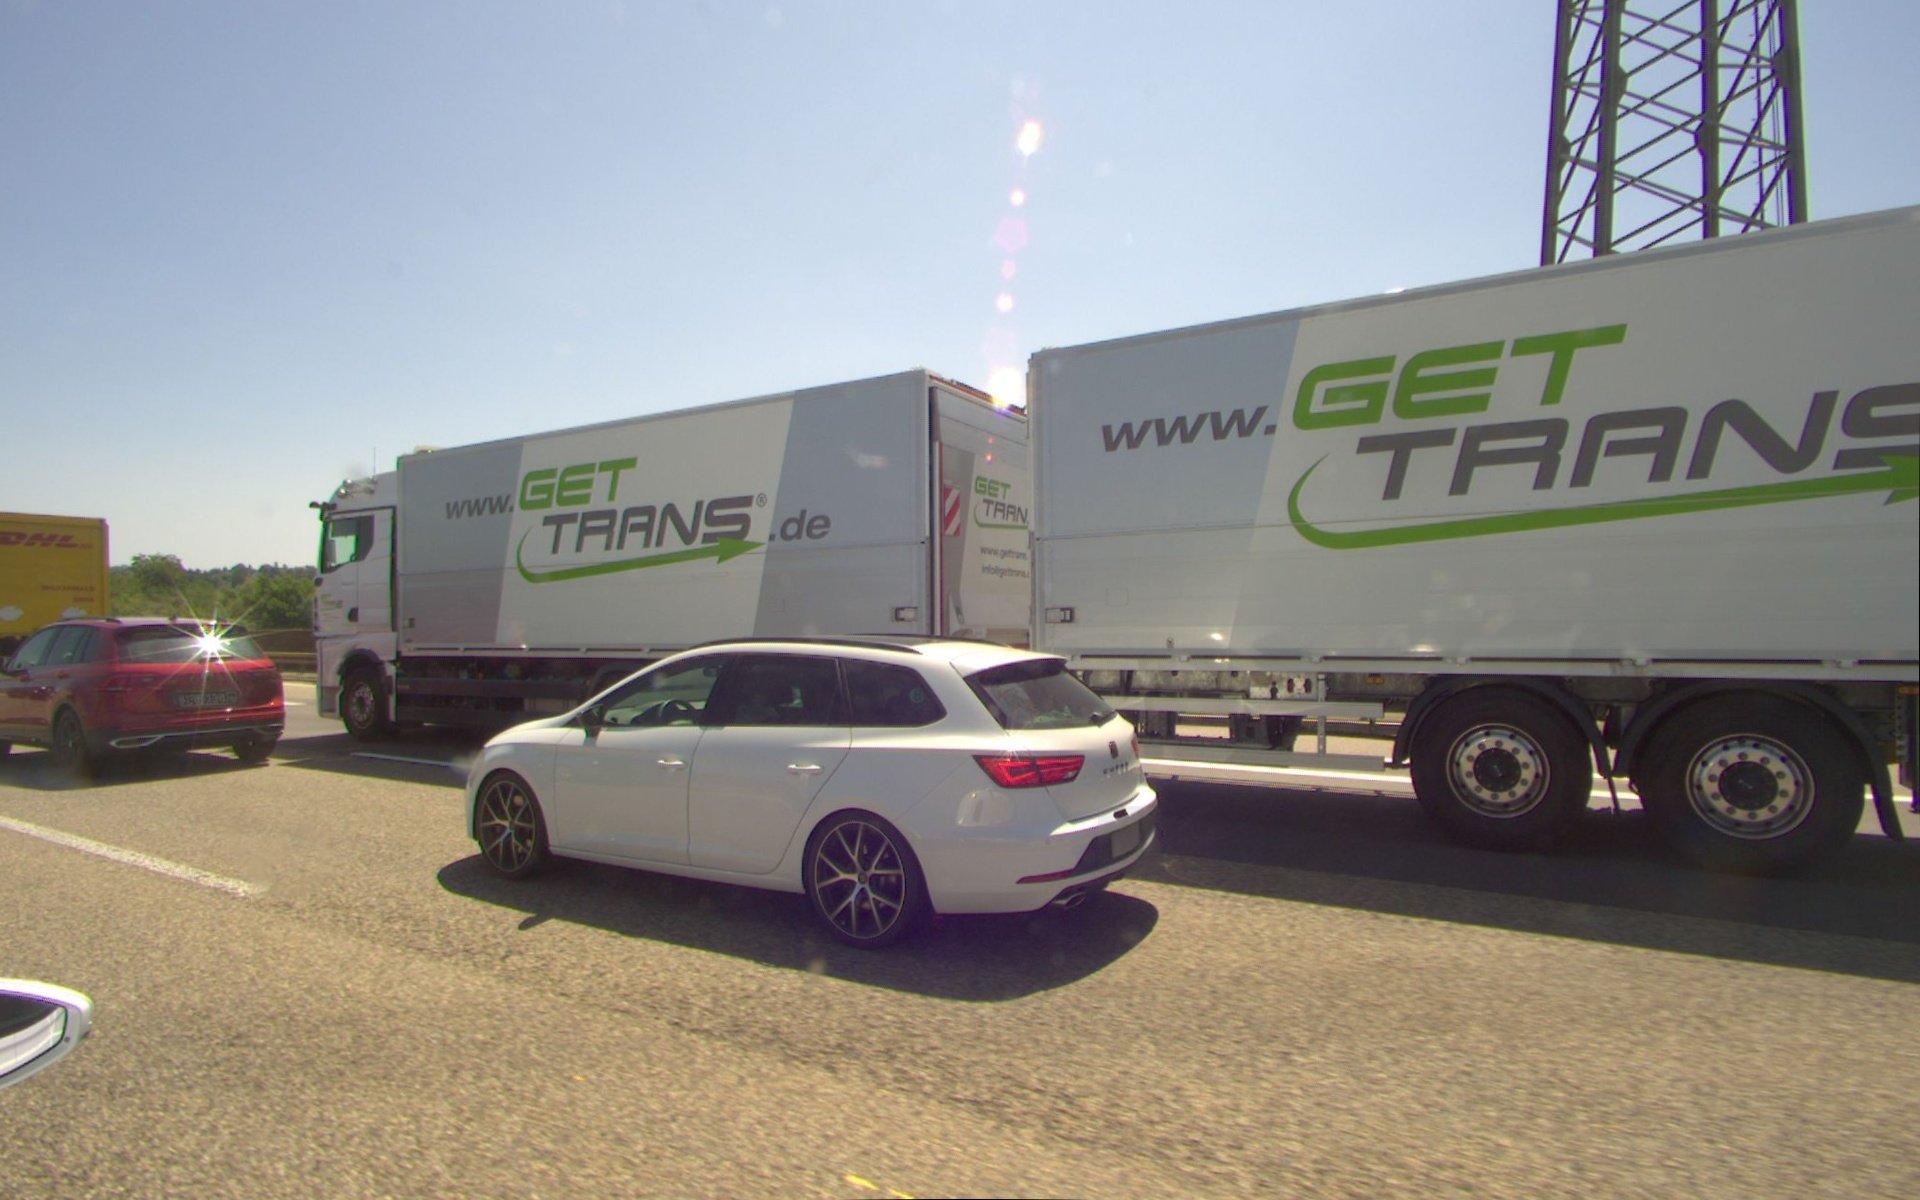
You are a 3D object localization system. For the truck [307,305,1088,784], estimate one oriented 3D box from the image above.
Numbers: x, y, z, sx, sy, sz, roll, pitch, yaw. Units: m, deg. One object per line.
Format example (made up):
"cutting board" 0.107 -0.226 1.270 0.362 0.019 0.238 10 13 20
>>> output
"truck" -3.811 -0.293 12.282 10.457 3.984 2.848 -2 -2 32

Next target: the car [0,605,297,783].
"car" -9.548 0.944 11.385 4.221 1.701 1.706 -1 -1 31

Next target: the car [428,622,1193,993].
"car" -1.028 0.875 5.861 4.364 1.470 1.706 -1 -2 31

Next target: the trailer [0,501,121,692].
"trailer" -24.212 0.057 24.639 8.849 4.139 2.679 -2 -2 31

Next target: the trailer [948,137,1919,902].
"trailer" 4.096 -0.332 7.382 8.096 3.940 2.894 -2 -2 32
